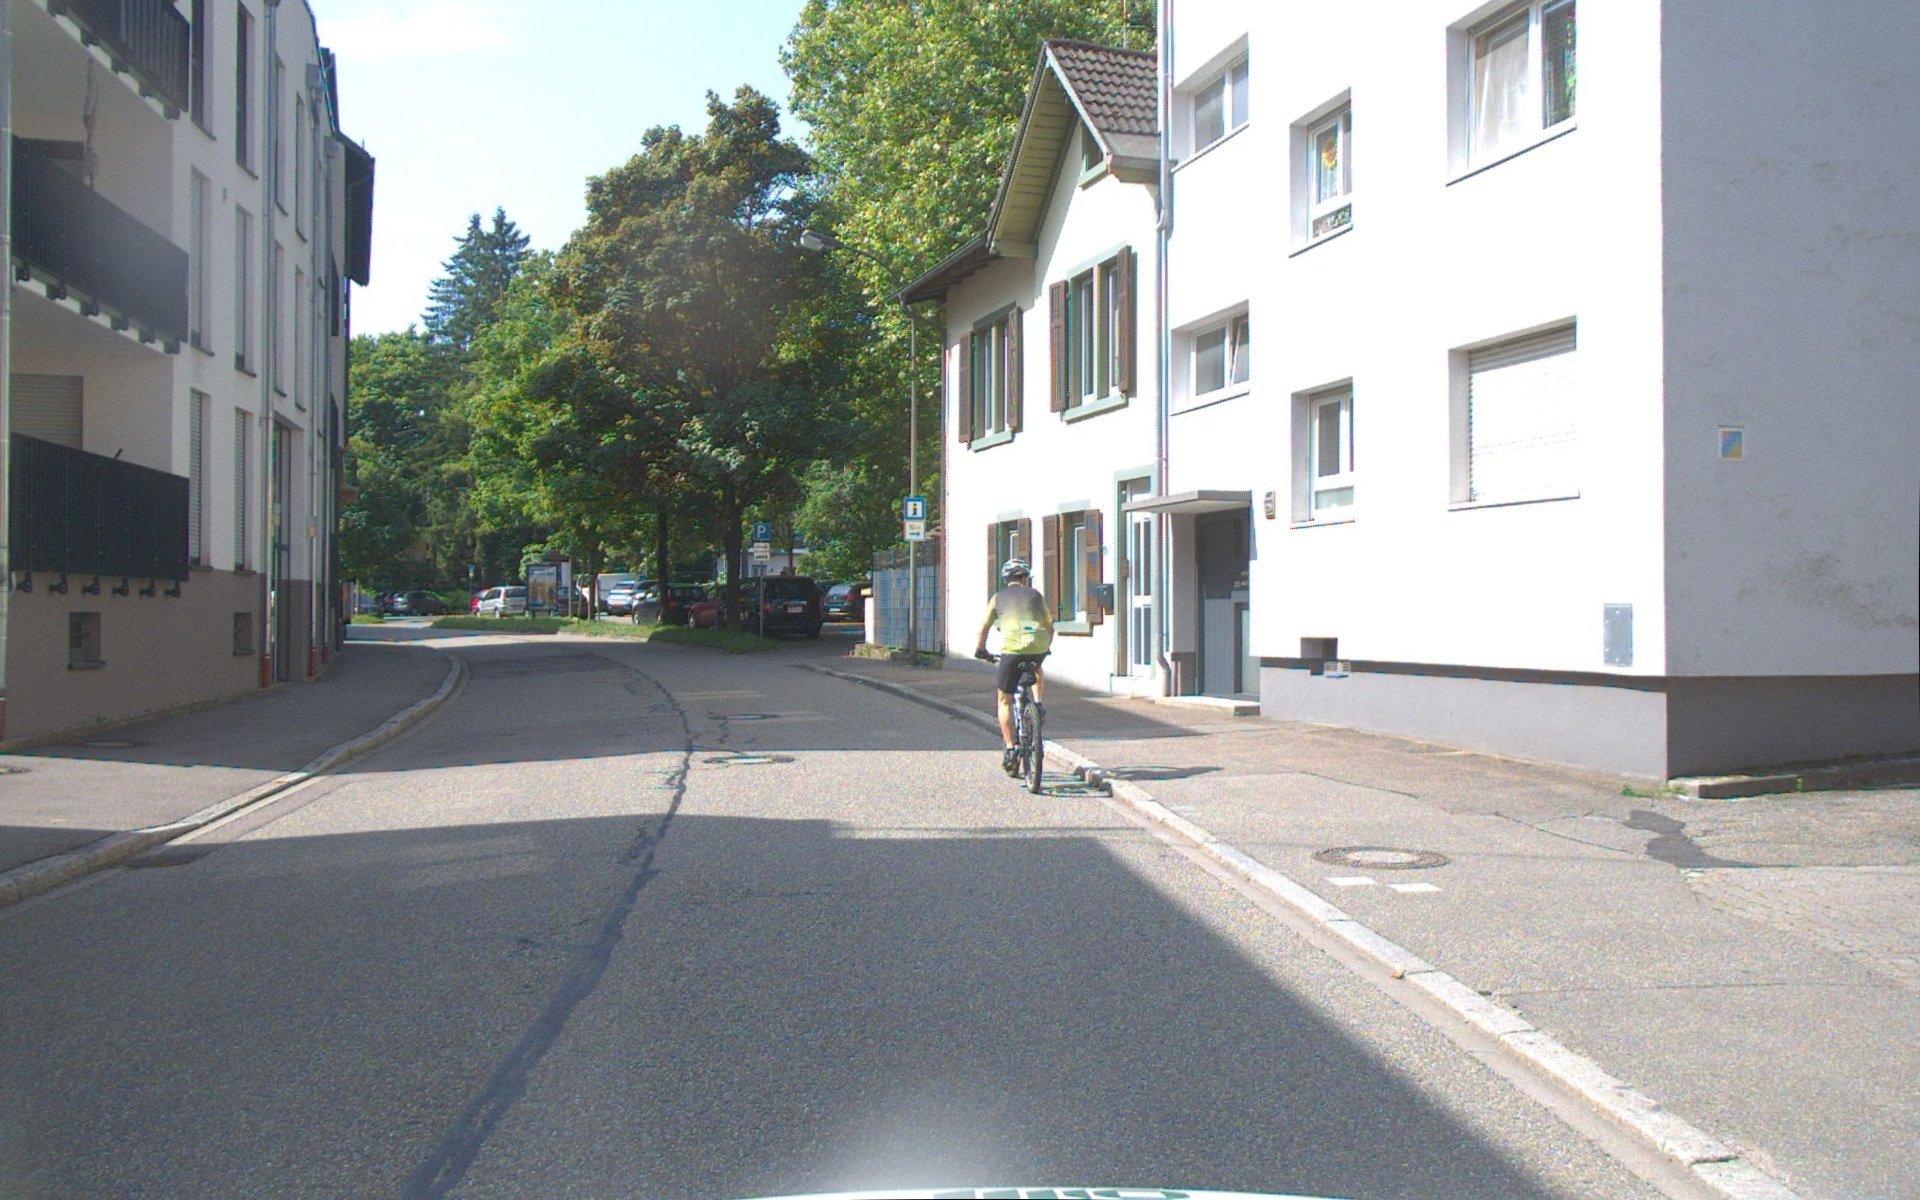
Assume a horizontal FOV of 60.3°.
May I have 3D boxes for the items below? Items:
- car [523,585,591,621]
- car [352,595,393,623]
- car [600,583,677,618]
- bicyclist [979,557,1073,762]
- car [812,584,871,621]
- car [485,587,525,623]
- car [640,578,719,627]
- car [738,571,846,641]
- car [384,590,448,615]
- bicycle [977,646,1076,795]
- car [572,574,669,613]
[{"bbox_3d":[-17.171,0.114,70.394,1.660,1.493,3.365,0,0,-37],"label":"car"},{"bbox_3d":[-33.354,0.501,93.835,1.618,1.555,3.451,0,0,-30],"label":"car"},{"bbox_3d":[-15.047,0.004,77.708,1.772,1.579,4.001,0,0,20],"label":"car"},{"bbox_3d":[0.510,0.457,13.048,0.672,1.558,0.715,-1,-1,-2],"label":"bicyclist"},{"bbox_3d":[-4.348,0.080,60.275,1.555,1.279,3.845,-1,0,-13],"label":"car"},{"bbox_3d":[-20.609,0.218,74.901,1.715,1.579,3.737,0,0,-16],"label":"car"},{"bbox_3d":[-9.796,0.047,57.552,1.687,1.569,3.968,-1,2,-26],"label":"car"},{"bbox_3d":[-4.781,0.131,46.591,1.800,1.822,3.968,-1,2,-26],"label":"car"},{"bbox_3d":[-34.427,0.167,104.632,3.344,1.555,1.958,0,0,20],"label":"car"},{"bbox_3d":[0.505,0.924,13.115,0.684,1.053,1.471,1,0,-1],"label":"bicycle"},{"bbox_3d":[-16.681,-0.309,81.467,1.959,1.887,4.686,0,0,34],"label":"car"}]
